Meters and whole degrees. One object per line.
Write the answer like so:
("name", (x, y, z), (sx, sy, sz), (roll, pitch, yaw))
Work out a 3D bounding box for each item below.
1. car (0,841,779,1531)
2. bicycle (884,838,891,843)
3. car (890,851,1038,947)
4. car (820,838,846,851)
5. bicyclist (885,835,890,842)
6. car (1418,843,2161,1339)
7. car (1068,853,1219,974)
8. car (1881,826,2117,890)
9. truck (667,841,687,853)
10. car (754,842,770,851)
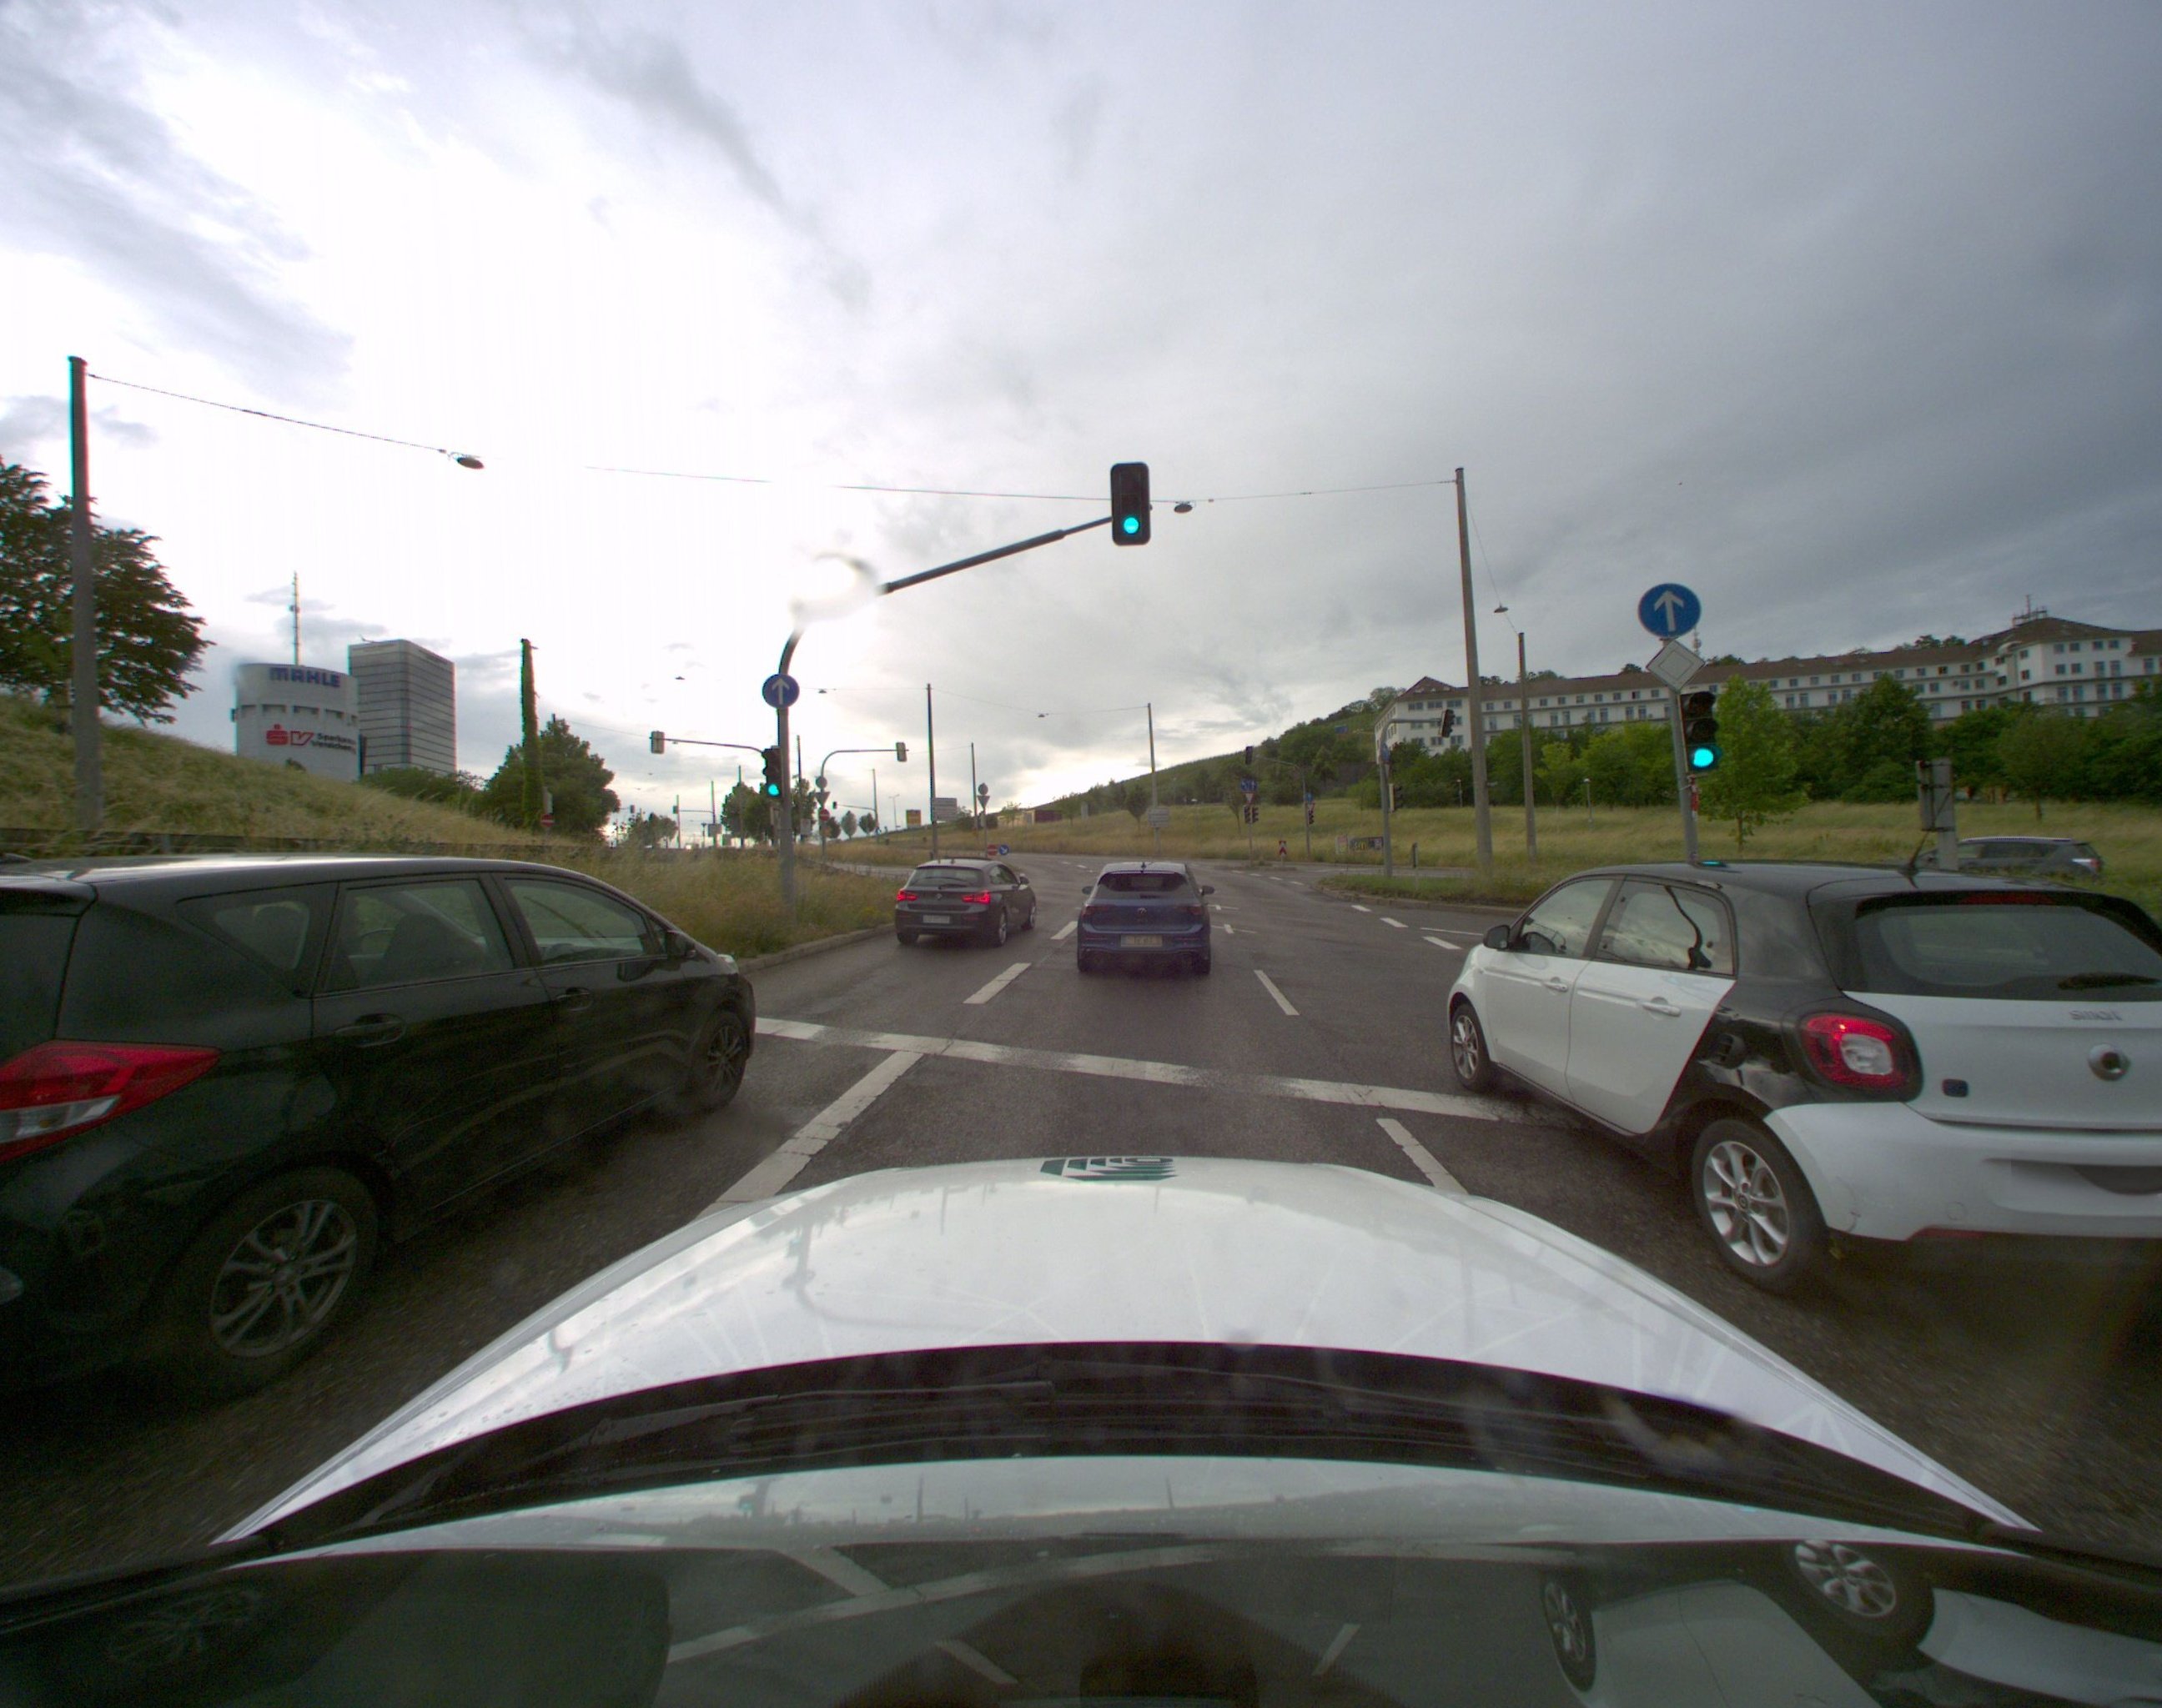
("car", (-3.042, 0.728, 3.737), (1.634, 1.504, 3.782), (1, 0, 4))
("bicycle", (-29.279, -2.017, 123.169), (0.522, 0.775, 1.604), (1, 0, -33))
("car", (-1.947, 0.705, 14.848), (1.694, 1.459, 4.120), (-2, 0, 5))
("car", (-32.133, -1.166, 105.492), (2.007, 1.618, 4.804), (0, 0, -31))
("bicyclist", (-29.307, -2.298, 123.252), (0.527, 1.046, 0.574), (2, -1, -33))
("car", (3.208, 0.755, 4.219), (1.650, 1.503, 3.454), (-1, -1, 4))
("car", (0.933, 0.747, 11.894), (1.816, 1.460, 3.813), (-1, 0, 5))
("car", (24.464, 0.152, 21.846), (2.008, 1.537, 3.919), (0, -2, -33))
("truck", (-104.699, -1.796, 210.969), (3.284, 3.074, 6.106), (2, -1, -38))
("car", (-57.804, -1.327, 147.582), (2.005, 1.637, 4.380), (2, 0, -29))
